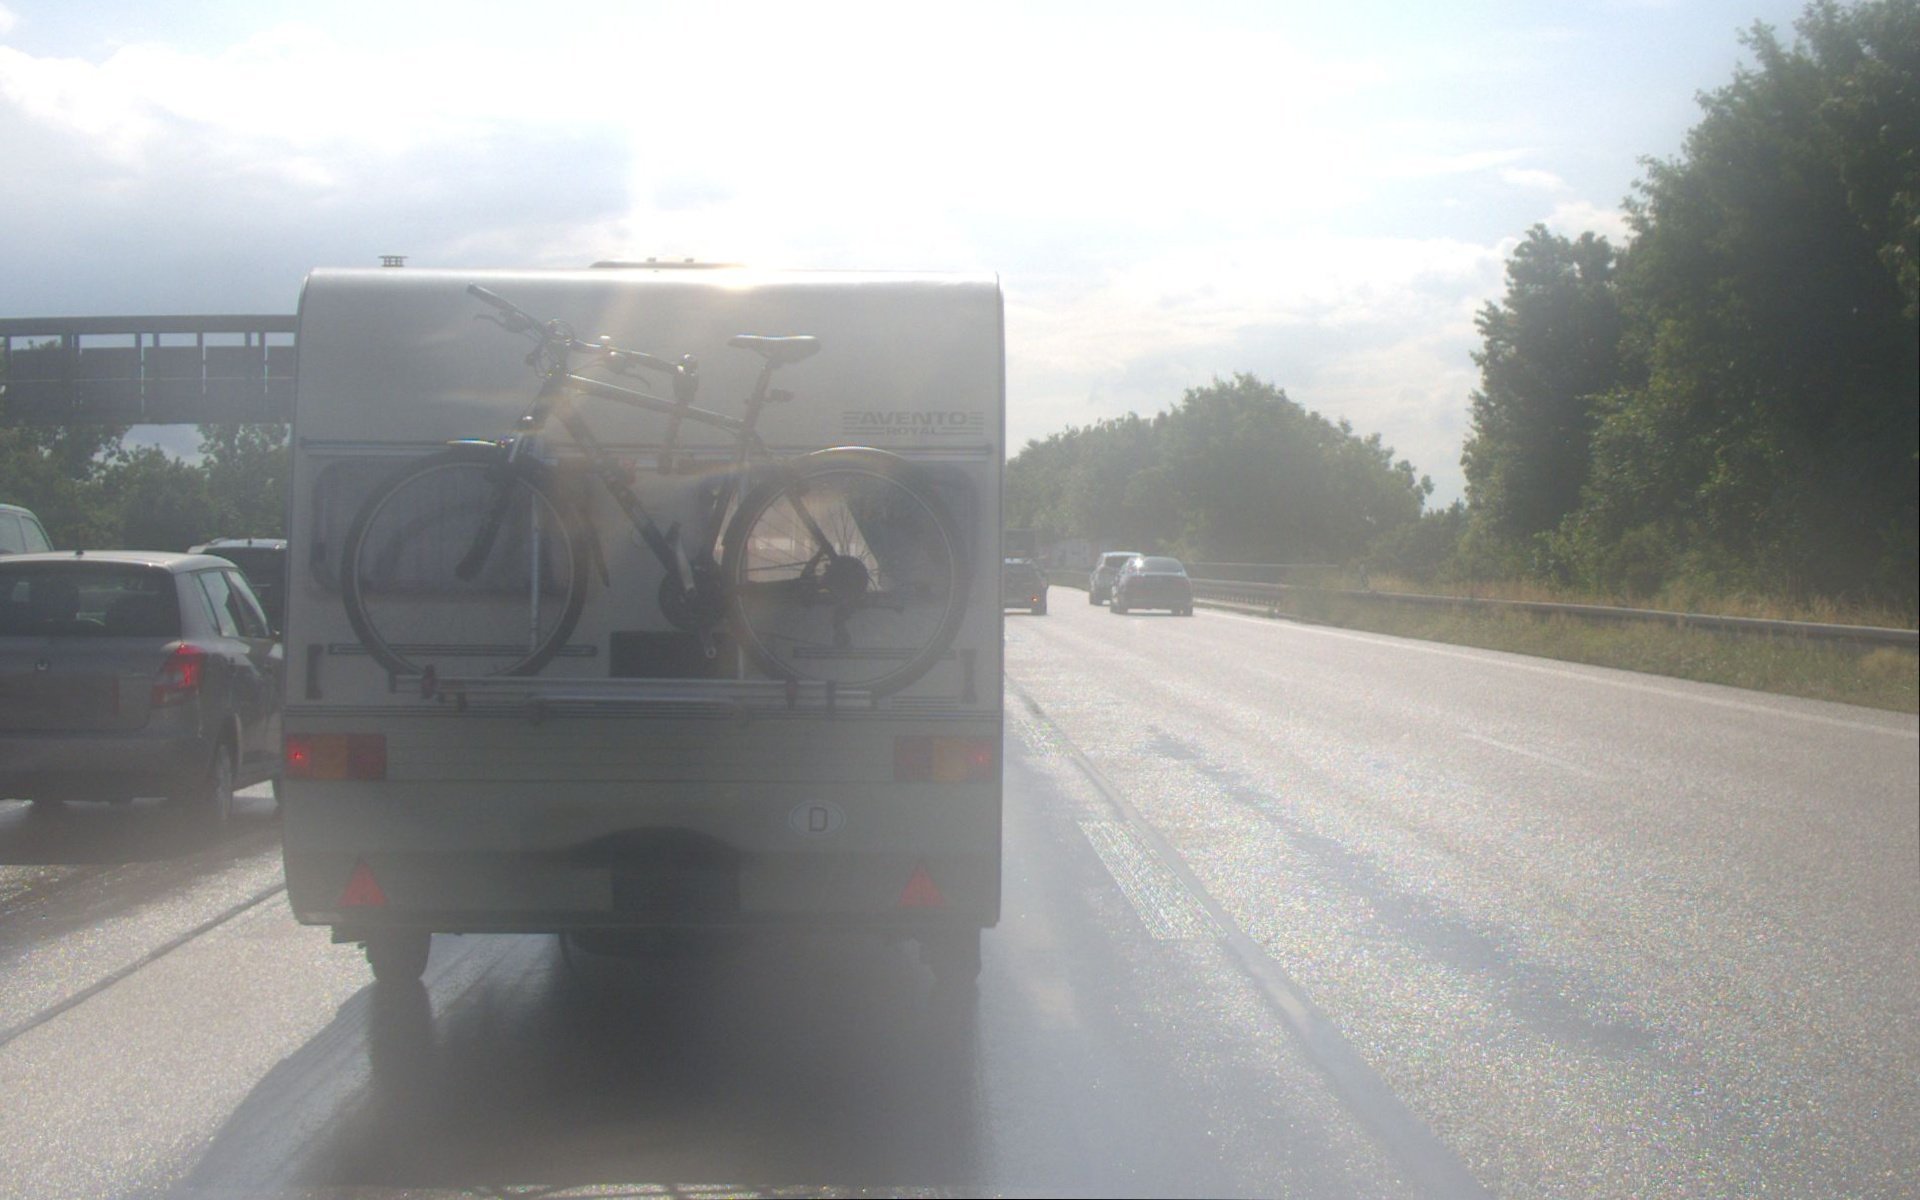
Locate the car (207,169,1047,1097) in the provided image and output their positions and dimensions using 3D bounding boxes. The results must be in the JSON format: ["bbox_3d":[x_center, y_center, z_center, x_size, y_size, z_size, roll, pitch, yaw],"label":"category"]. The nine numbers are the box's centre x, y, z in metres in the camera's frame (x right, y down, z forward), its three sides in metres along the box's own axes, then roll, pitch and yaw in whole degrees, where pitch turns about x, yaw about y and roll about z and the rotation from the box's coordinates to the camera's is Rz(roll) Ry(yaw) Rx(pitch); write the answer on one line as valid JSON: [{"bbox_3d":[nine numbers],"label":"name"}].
[{"bbox_3d":[-0.972,0.076,11.972,2.410,2.665,4.000,1,1,0],"label":"car"}]

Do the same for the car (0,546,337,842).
[{"bbox_3d":[-4.767,0.436,18.934,1.987,1.453,3.827,0,1,0],"label":"car"}]

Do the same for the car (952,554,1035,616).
[{"bbox_3d":[0.844,-0.409,89.139,1.835,1.552,4.001,1,1,-4],"label":"car"}]

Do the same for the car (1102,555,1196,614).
[{"bbox_3d":[4.900,-0.422,89.555,1.876,1.489,4.001,1,1,-5],"label":"car"}]

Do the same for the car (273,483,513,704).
[{"bbox_3d":[-5.445,-0.081,33.446,1.876,2.007,4.001,1,1,-3],"label":"car"}]

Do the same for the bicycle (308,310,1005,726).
[{"bbox_3d":[-0.844,-0.232,9.770,1.934,1.137,0.384,1,0,1],"label":"bicycle"}]

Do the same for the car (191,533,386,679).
[{"bbox_3d":[-8.035,0.047,41.418,1.771,1.656,4.001,1,1,-3],"label":"car"}]

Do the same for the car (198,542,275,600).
[{"bbox_3d":[-25.534,-1.047,121.420,1.993,2.007,4.363,0,1,-3],"label":"car"}]

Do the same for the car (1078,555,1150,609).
[{"bbox_3d":[4.787,-0.580,107.276,1.876,1.623,4.000,1,1,-3],"label":"car"}]

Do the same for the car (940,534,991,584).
[{"bbox_3d":[0.191,-1.436,119.214,1.719,1.678,4.000,0,1,0],"label":"car"}]

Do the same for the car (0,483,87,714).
[{"bbox_3d":[-8.960,-0.026,29.366,1.848,1.927,5.017,0,1,-1],"label":"car"}]

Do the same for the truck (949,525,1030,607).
[{"bbox_3d":[0.866,-1.059,105.124,2.415,2.435,6.053,0,1,0],"label":"truck"}]

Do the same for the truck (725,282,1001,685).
[{"bbox_3d":[-1.283,-1.403,44.786,3.146,4.610,10.737,0,1,-2],"label":"truck"}]
